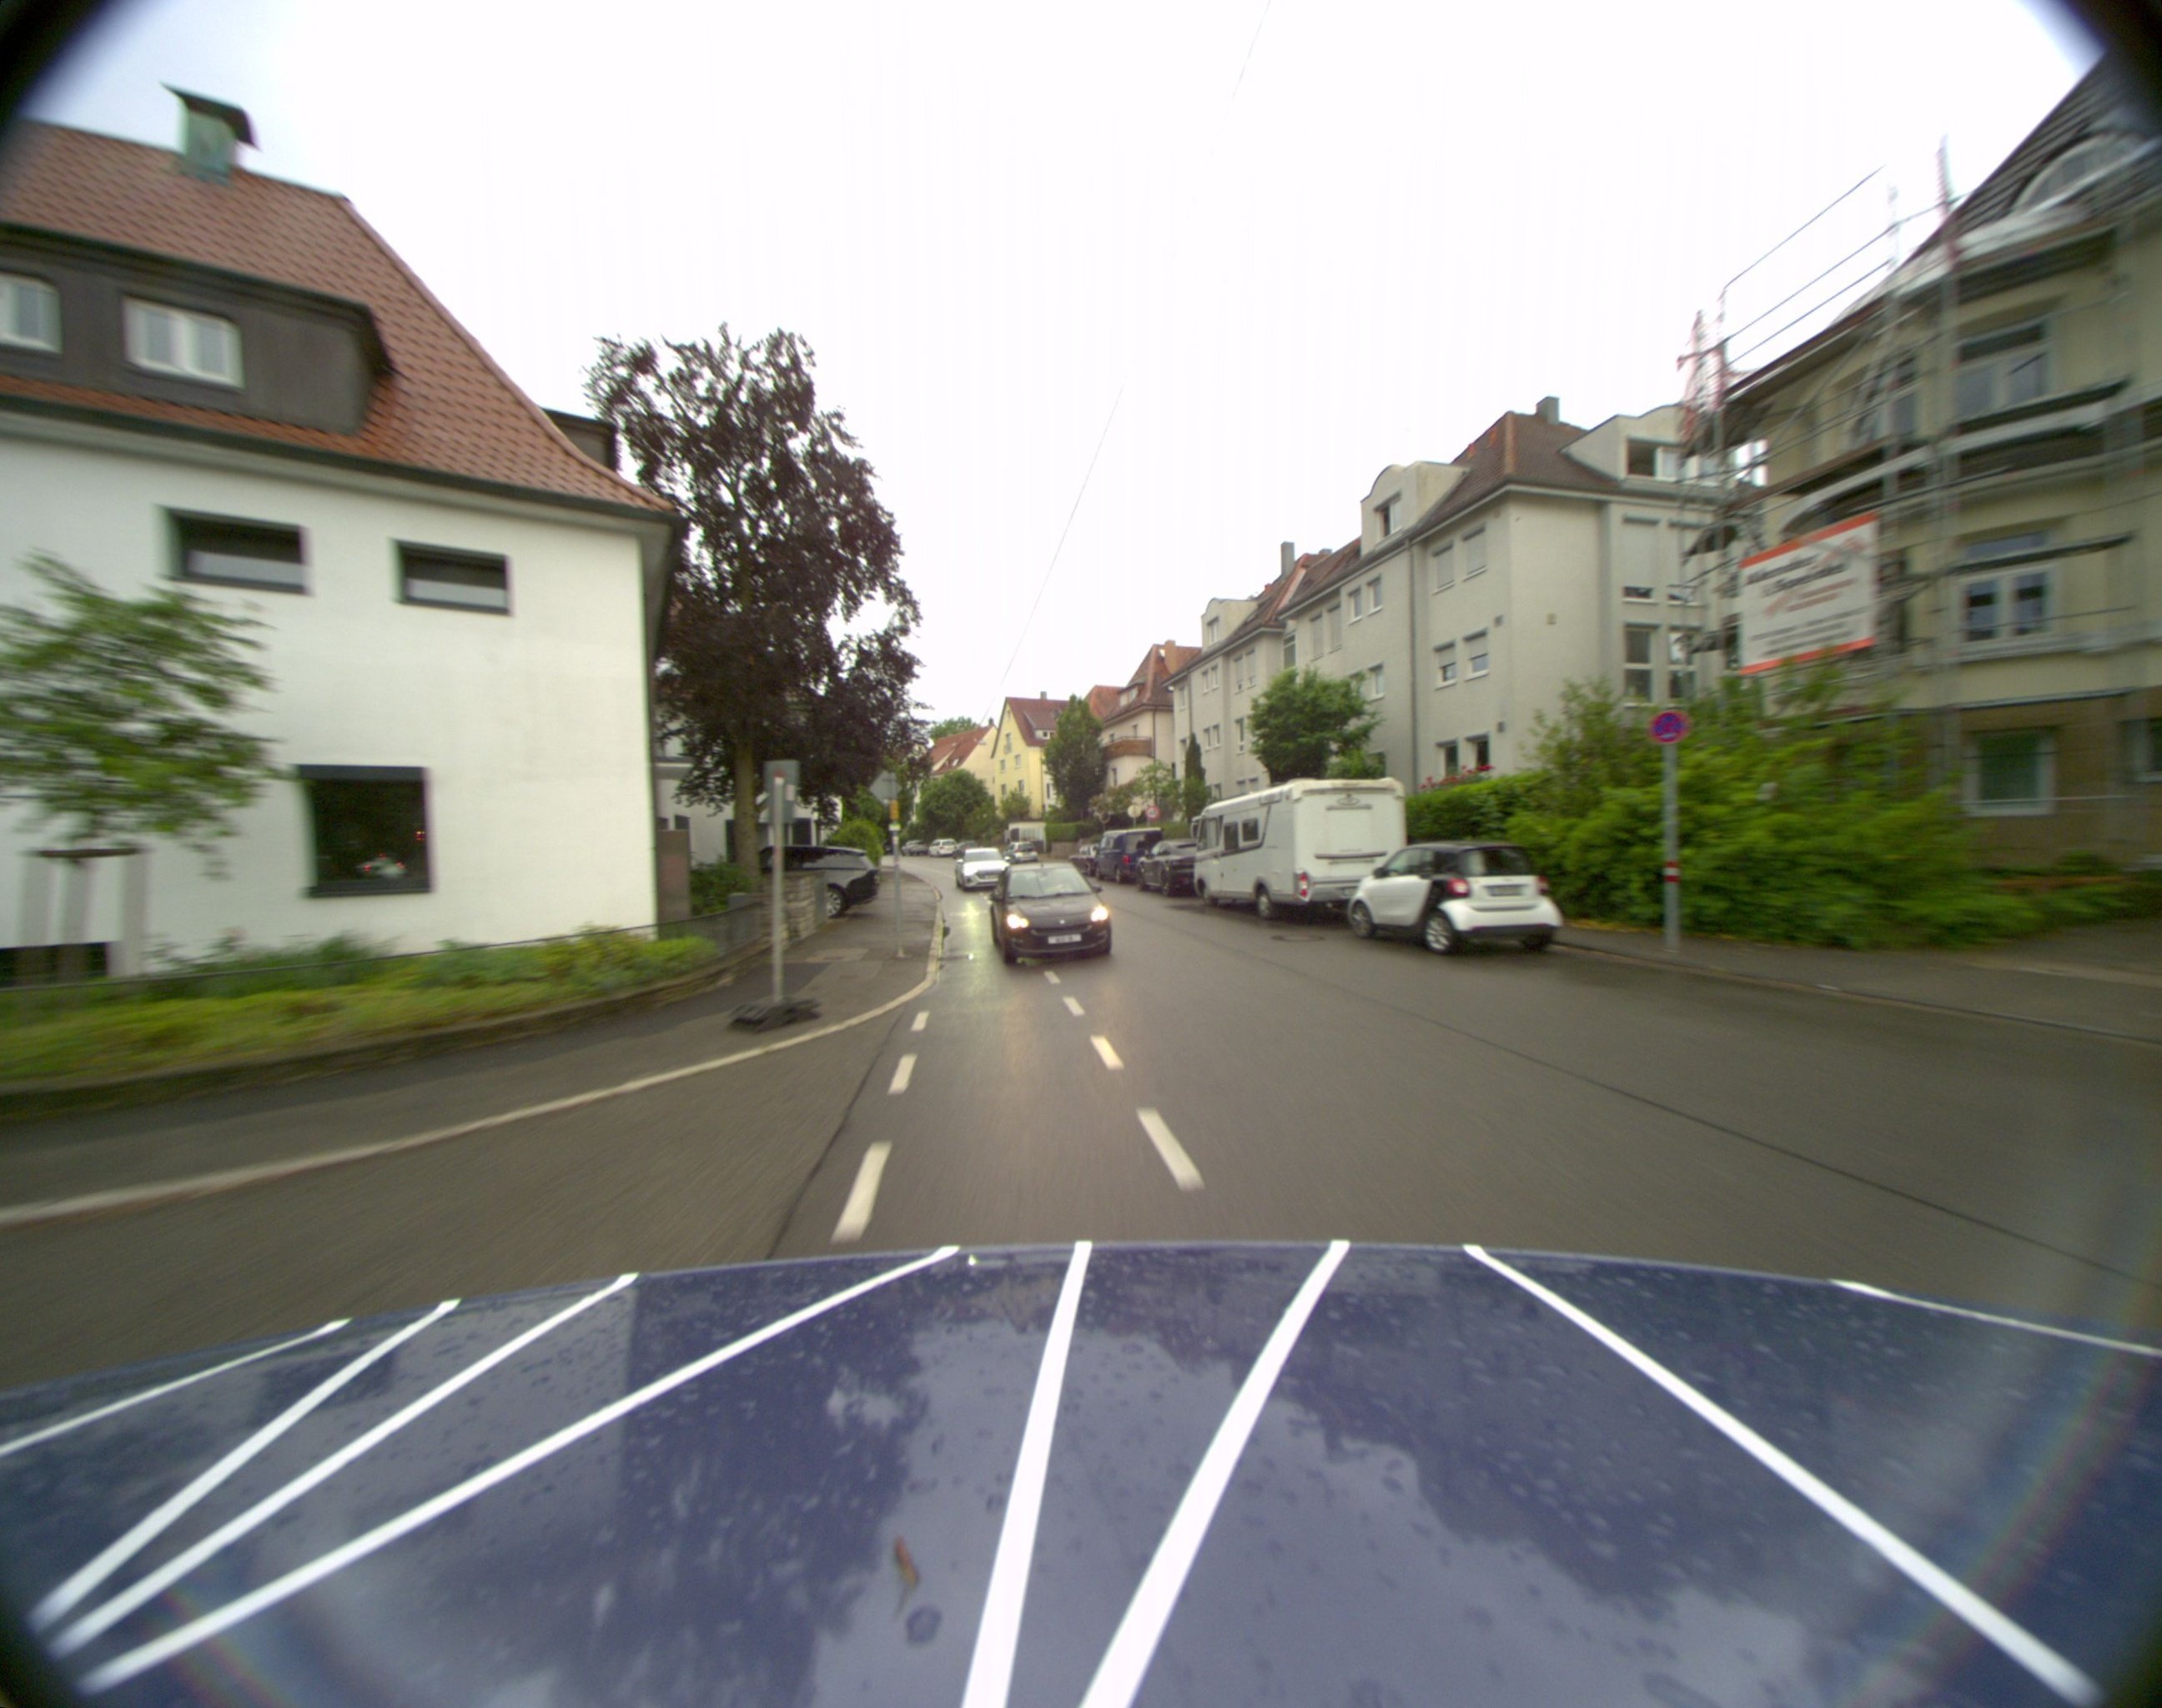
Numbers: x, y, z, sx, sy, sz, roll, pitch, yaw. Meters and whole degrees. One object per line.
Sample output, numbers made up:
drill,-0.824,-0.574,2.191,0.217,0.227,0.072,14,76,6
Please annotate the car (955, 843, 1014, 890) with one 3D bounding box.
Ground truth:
car,-3.980,0.465,30.824,1.797,1.689,3.885,-4,2,-15

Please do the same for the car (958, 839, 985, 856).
car,-9.597,-0.528,66.400,1.682,1.364,3.435,-4,2,-19

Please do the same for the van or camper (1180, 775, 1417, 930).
van or camper,4.368,-0.094,16.718,2.356,2.709,6.109,-2,1,-12

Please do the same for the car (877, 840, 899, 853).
car,-23.963,-0.933,94.351,1.682,1.364,4.427,-4,2,-27

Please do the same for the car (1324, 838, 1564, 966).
car,5.236,0.590,11.447,1.600,1.586,3.314,-2,1,-11

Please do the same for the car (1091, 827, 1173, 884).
car,1.907,0.027,30.048,1.838,1.977,4.575,-4,2,-14

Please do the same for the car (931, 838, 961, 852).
car,-13.217,-0.858,74.202,1.683,1.364,4.427,-1,0,-27

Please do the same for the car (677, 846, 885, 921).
car,-7.611,0.740,19.753,4.747,1.799,1.940,1,1,-11

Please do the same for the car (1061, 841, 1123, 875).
car,0.449,0.145,36.108,1.681,1.365,4.503,-4,2,-16

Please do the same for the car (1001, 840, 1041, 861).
car,-4.170,-0.241,52.589,1.682,1.364,3.434,-4,2,-23

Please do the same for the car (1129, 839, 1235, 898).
car,2.980,0.361,23.588,1.838,1.586,4.741,-2,1,-11

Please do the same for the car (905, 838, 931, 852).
car,-17.890,-0.938,83.324,1.682,1.364,4.427,-4,2,-27

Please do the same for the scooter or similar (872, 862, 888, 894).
scooter or similar,-7.530,0.891,28.483,0.448,1.125,1.273,-2,2,-11

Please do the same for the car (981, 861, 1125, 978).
car,-0.623,0.948,12.670,1.900,1.456,3.678,-3,2,-9
